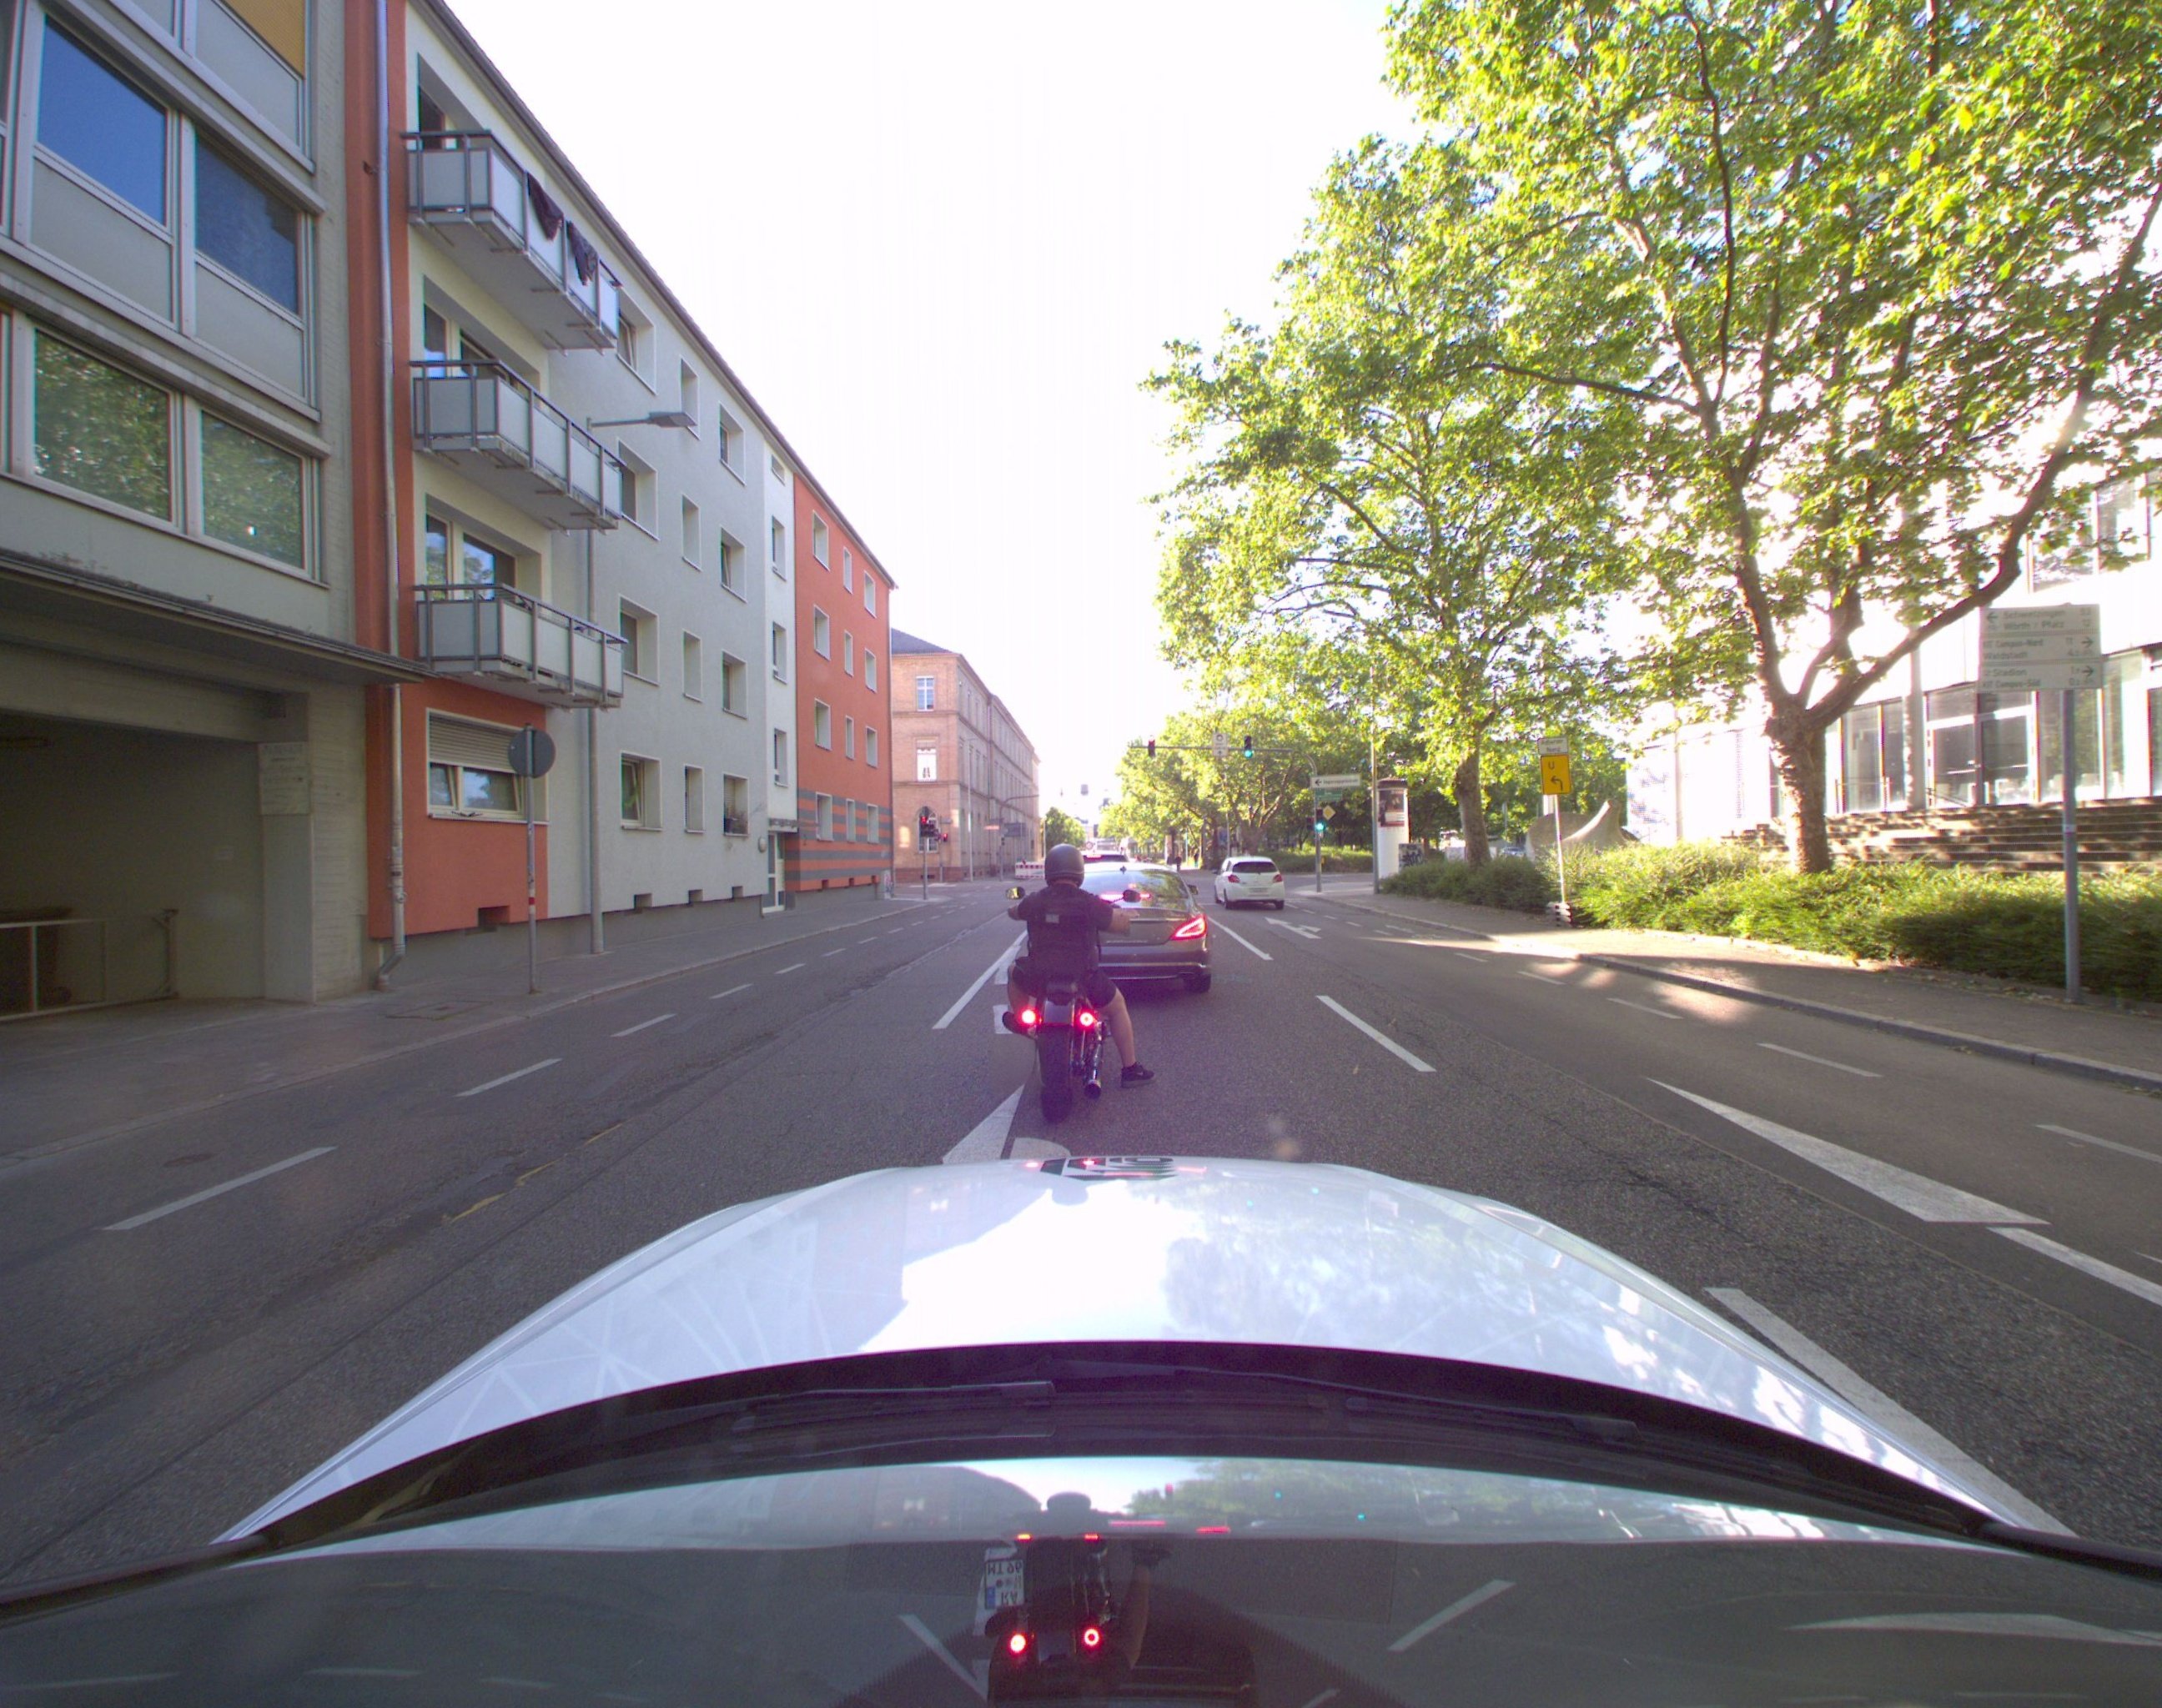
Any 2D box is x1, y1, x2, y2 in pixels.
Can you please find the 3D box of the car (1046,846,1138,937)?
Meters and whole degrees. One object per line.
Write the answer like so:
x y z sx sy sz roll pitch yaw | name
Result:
0.116 0.705 16.847 1.627 1.650 3.845 0 0 -4 | car

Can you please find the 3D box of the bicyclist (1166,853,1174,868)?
8.769 0.651 80.382 0.653 1.530 0.906 0 -1 1 | bicyclist

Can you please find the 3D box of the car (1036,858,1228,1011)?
0.541 0.777 9.696 1.821 1.420 3.816 -1 0 2 | car

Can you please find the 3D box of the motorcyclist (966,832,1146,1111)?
-0.128 0.682 5.432 1.008 1.602 1.406 -1 0 1 | motorcyclist

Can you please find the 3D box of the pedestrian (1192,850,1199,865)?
11.521 0.343 82.033 0.590 1.578 0.527 0 -1 2 | pedestrian

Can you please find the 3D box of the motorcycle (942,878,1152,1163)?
-0.128 0.859 5.346 1.008 1.306 2.673 -1 0 2 | motorcycle

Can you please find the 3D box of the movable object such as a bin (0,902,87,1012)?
-11.220 1.074 8.651 0.487 1.088 0.654 -1 0 1 | movable object such as a bin

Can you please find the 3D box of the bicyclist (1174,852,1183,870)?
8.399 0.621 70.110 0.653 1.530 0.852 0 -1 1 | bicyclist

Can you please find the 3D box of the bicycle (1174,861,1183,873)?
8.397 1.105 70.120 0.653 1.070 1.927 0 -1 1 | bicycle

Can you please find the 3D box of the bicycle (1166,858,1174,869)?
8.768 0.954 80.326 0.653 1.111 2.186 0 0 2 | bicycle

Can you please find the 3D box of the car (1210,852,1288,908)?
4.809 0.711 23.746 1.672 1.498 3.687 0 0 2 | car

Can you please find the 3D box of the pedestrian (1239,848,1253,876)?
10.756 0.522 53.104 0.574 1.774 0.619 1 -1 -33 | pedestrian
